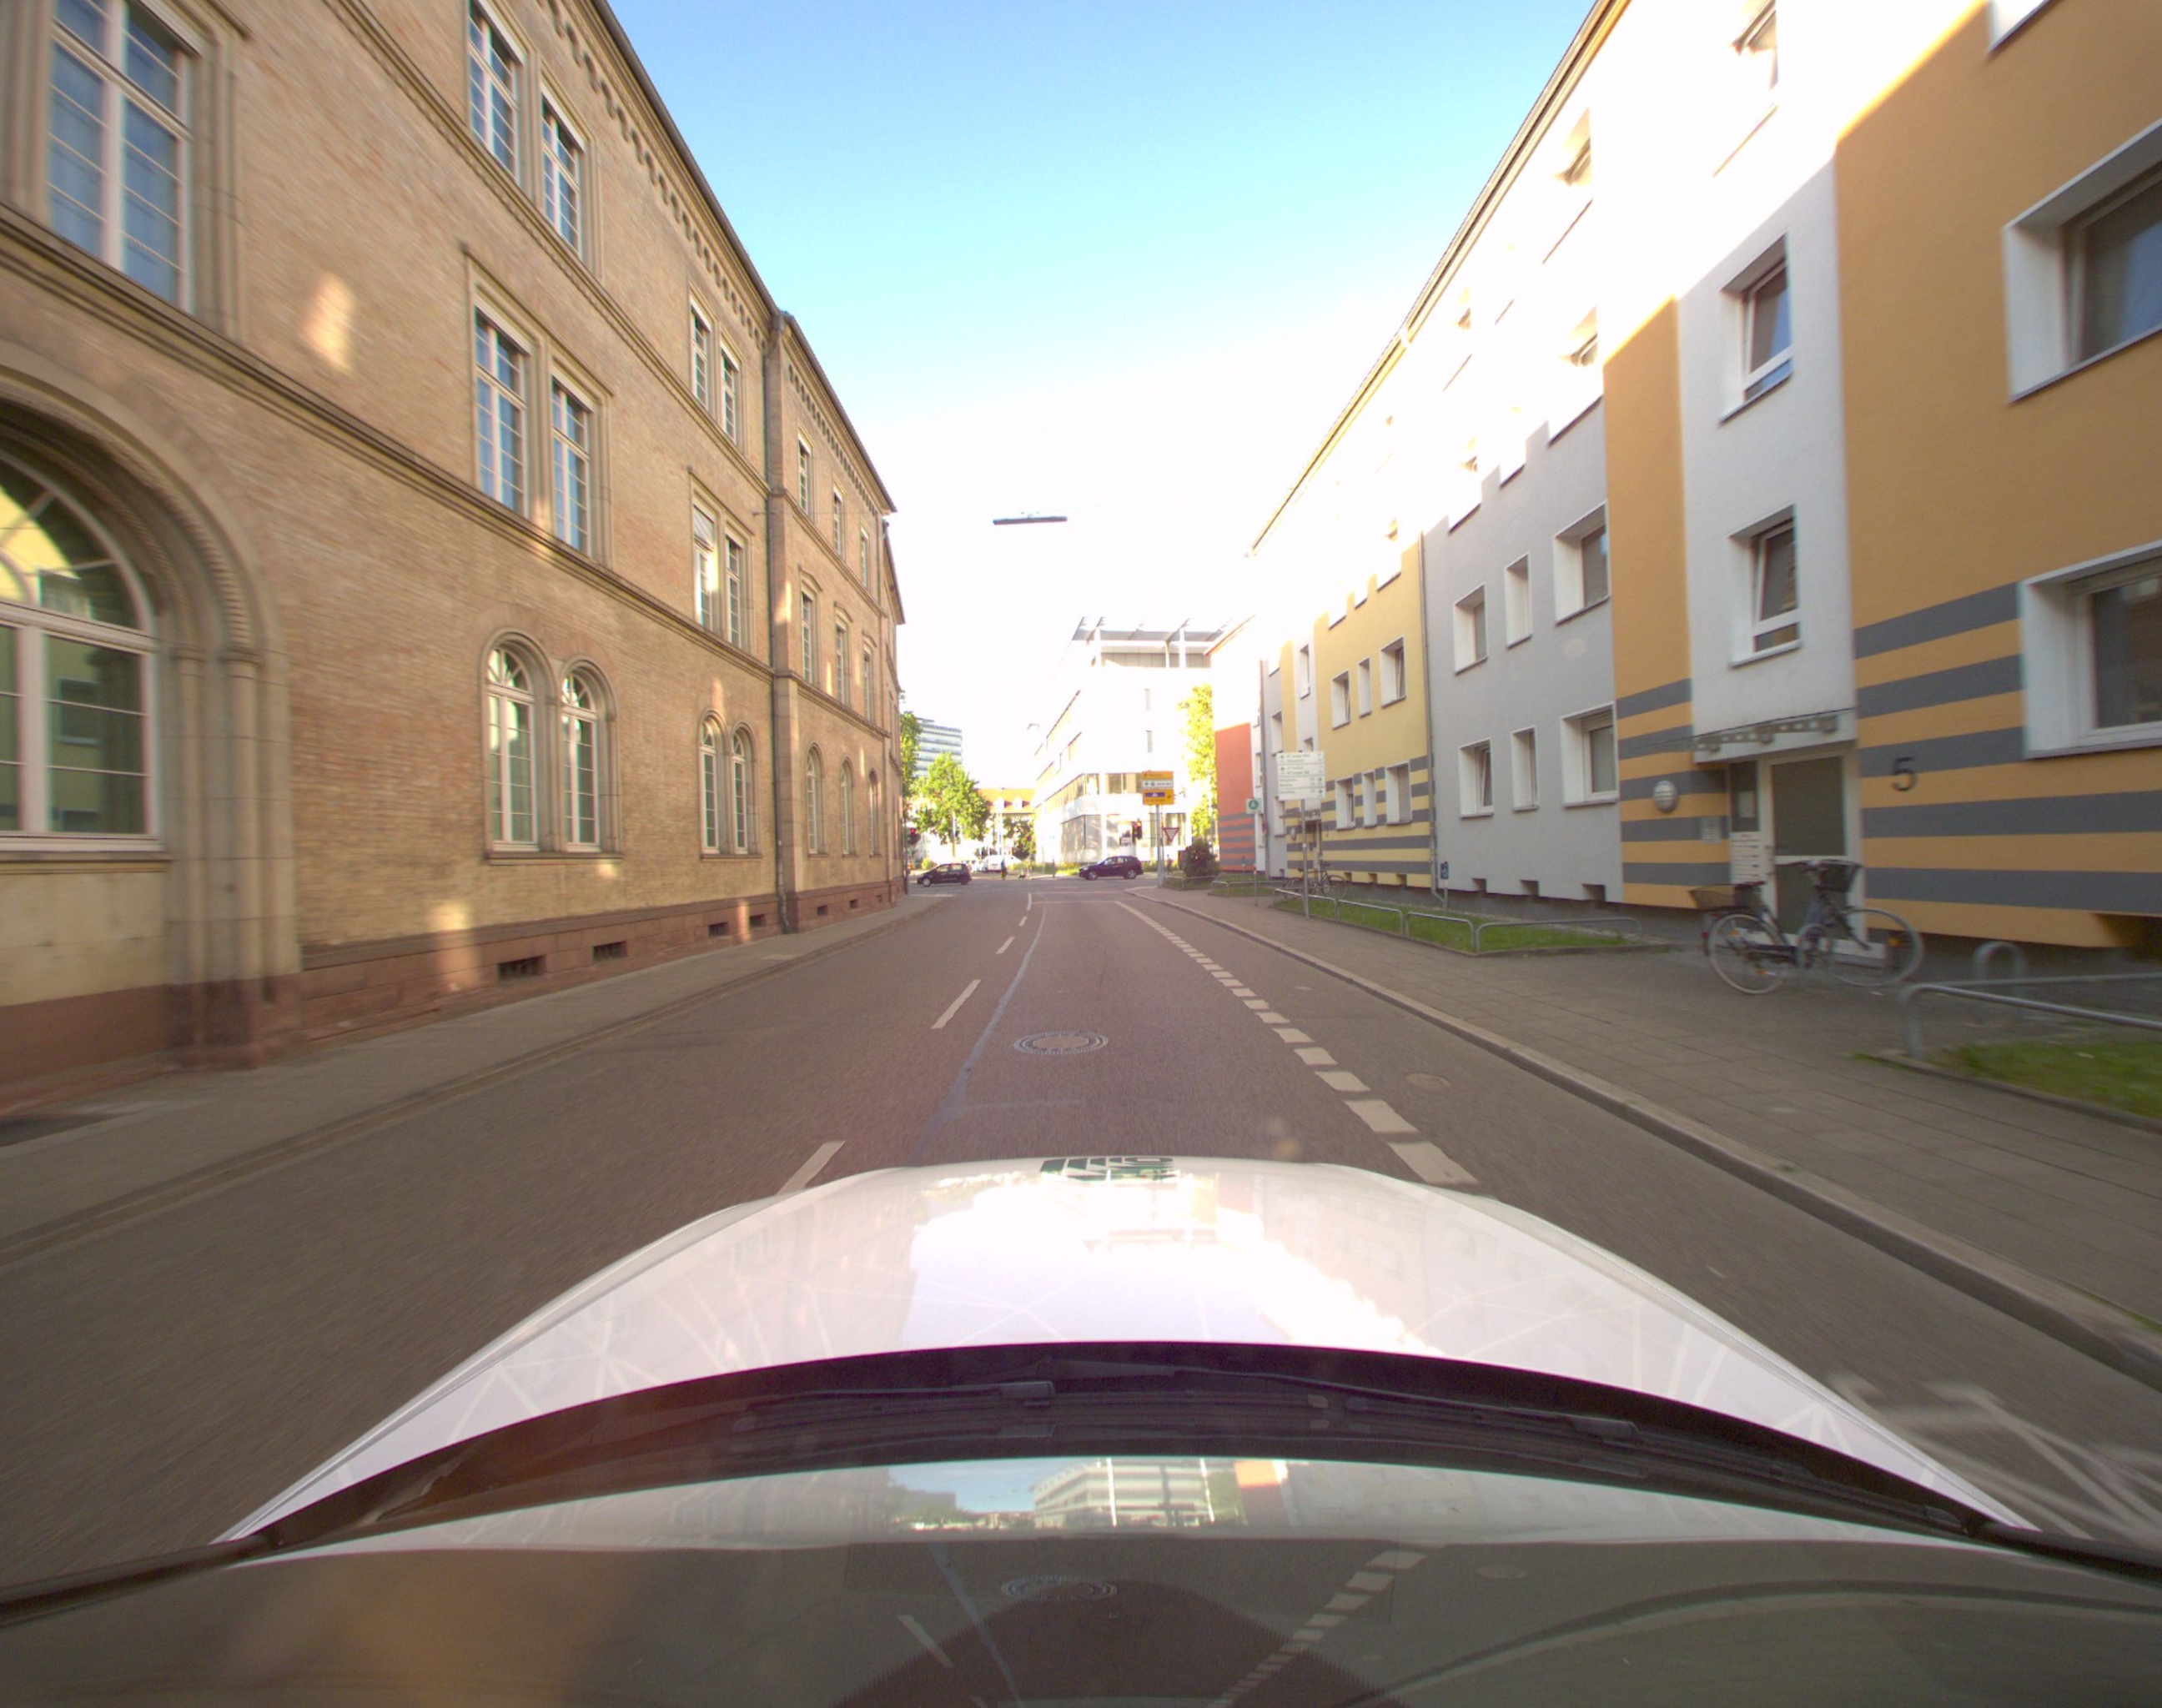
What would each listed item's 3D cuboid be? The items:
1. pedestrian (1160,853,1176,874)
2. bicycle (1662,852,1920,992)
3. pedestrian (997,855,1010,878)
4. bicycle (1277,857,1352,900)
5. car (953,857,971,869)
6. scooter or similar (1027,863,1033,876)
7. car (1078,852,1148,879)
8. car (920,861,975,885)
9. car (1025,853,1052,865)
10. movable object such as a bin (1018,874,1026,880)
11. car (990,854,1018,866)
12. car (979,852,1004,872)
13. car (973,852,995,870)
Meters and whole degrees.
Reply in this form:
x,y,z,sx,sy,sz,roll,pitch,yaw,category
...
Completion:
x,y,z,sx,sy,sz,roll,pitch,yaw,category
6.511,0.720,60.983,0.927,1.515,0.844,0,-1,-11,pedestrian
6.393,0.595,7.384,1.804,1.137,0.552,-2,-1,0,bicycle
-6.066,1.001,63.657,0.927,1.759,0.844,0,-1,-11,pedestrian
6.164,0.633,21.514,1.749,1.004,0.612,-4,-1,-3,bicycle
-17.696,1.289,121.247,2.331,1.733,4.984,0,-1,-12,car
-4.532,1.368,72.134,0.325,1.059,1.138,-2,0,-10,scooter or similar
2.151,0.741,55.325,4.366,1.633,1.993,-2,0,-10,car
-8.771,1.245,53.505,3.431,1.446,1.768,-2,-1,-11,car
-6.780,0.756,130.512,4.002,1.882,1.922,0,-1,-21,car
-4.698,1.840,65.196,0.590,0.480,0.285,-2,0,-15,movable object such as a bin
-12.108,0.912,128.250,4.002,1.915,1.906,0,-1,-21,car
-10.008,0.920,90.410,2.424,2.112,5.213,0,-1,-10,car
-12.175,0.880,102.199,2.331,2.112,4.984,0,-1,-12,car
